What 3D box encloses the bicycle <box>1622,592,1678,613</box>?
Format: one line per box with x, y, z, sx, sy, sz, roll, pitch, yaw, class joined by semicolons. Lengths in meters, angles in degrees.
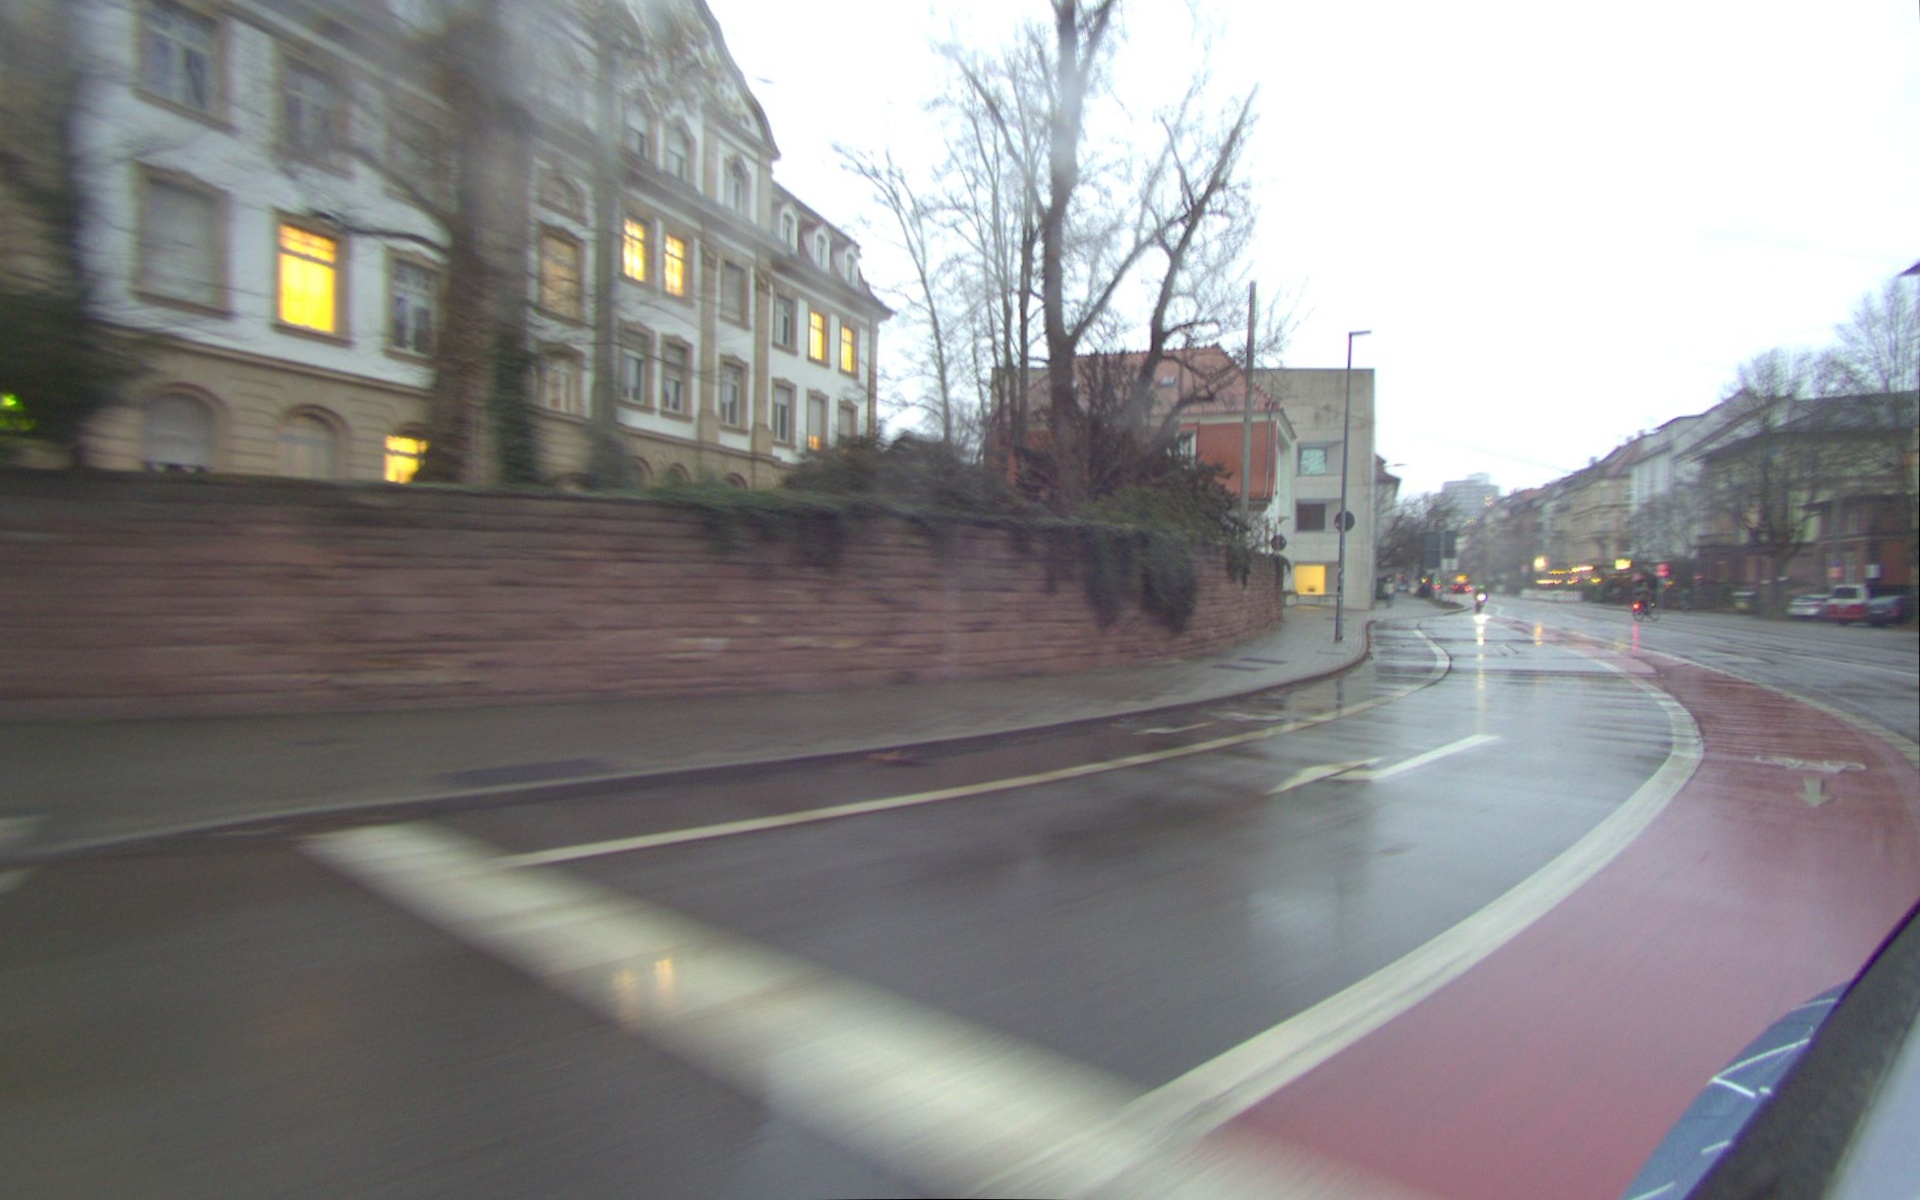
33.270;0.131;48.830;2.102;0.956;0.935;-1;1;28;bicycle

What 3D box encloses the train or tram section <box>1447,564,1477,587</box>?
89.823;-4.405;181.579;2.854;3.783;27.131;-1;1;22;train or tram section

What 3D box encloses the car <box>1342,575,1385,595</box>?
34.697;-1.301;87.059;3.422;1.667;1.719;-1;1;23;car

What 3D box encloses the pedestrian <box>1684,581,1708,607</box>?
51.145;-0.415;70.348;0.906;1.724;0.948;-1;0;1;pedestrian

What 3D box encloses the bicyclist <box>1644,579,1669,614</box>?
33.457;-0.168;48.647;0.849;1.615;0.773;2;2;28;bicyclist

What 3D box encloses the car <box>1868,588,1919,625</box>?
43.566;0.240;45.536;3.898;1.559;1.825;-1;1;-4;car

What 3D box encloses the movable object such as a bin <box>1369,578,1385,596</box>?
35.647;-1.120;86.468;1.246;1.463;1.408;2;2;23;movable object such as a bin

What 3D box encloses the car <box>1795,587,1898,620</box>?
47.132;0.159;53.843;4.101;1.611;1.777;-1;1;-6;car

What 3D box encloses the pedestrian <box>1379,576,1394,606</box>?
27.769;-0.595;65.895;0.766;1.881;0.712;2;2;25;pedestrian

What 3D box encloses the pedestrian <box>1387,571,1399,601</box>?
28.111;-0.928;65.705;0.651;1.882;0.654;2;2;25;pedestrian

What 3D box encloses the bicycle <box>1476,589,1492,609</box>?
29.998;-0.045;57.917;0.718;1.104;2.261;0;0;30;bicycle

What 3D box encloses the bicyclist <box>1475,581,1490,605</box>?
30.006;-0.397;58.130;0.711;1.360;0.712;-1;1;30;bicyclist

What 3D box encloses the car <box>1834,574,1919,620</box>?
44.893;-0.154;48.439;4.531;2.079;1.968;-1;1;-4;car

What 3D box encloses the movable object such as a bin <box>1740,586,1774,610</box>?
50.965;-0.160;64.722;0.965;1.483;1.347;-1;1;-14;movable object such as a bin
